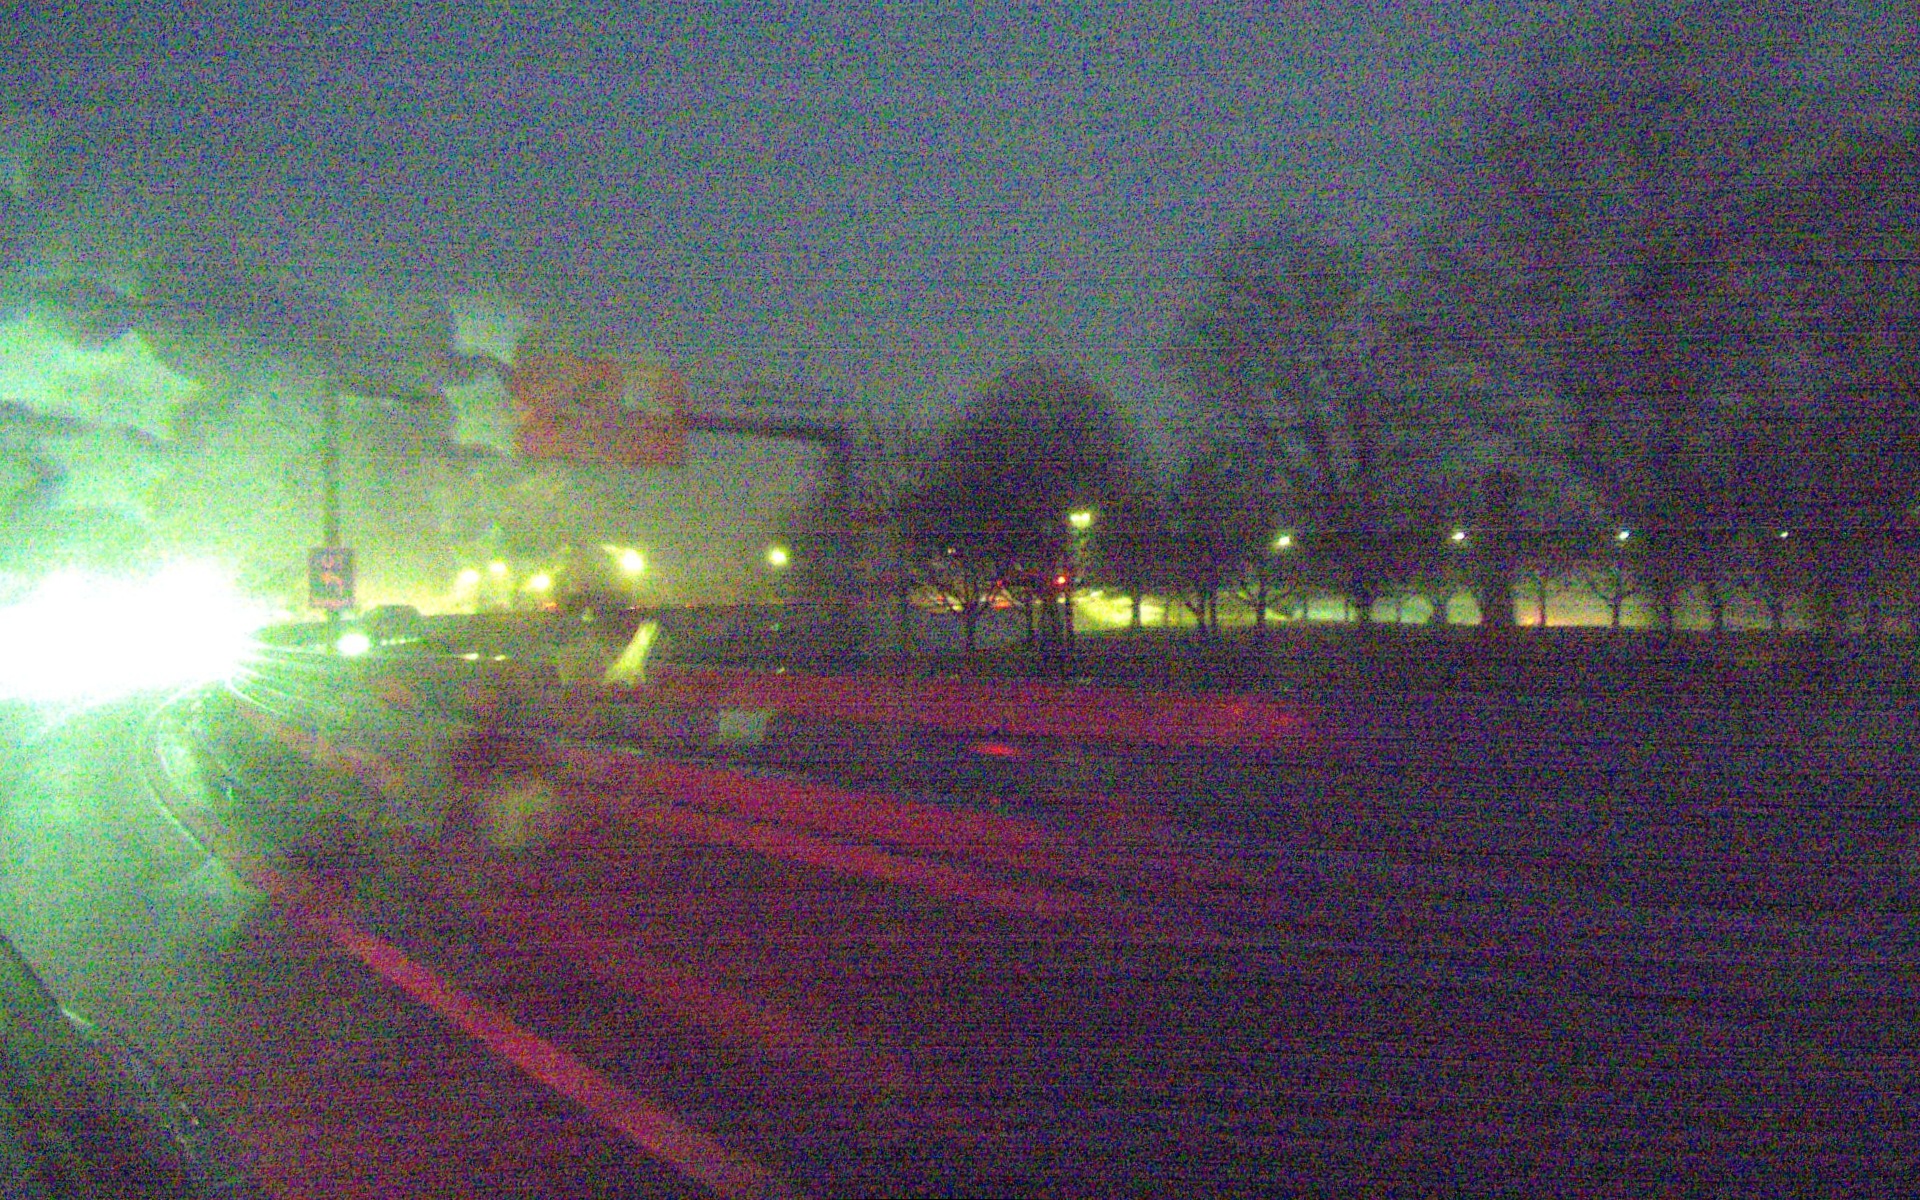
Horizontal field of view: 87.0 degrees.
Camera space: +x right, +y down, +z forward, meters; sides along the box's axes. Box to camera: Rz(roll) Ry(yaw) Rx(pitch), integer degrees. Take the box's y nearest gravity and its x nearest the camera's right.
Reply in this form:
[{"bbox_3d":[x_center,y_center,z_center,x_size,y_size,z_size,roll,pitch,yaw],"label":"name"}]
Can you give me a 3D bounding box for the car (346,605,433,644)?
[{"bbox_3d":[-27.828,1.171,49.517,1.972,1.761,4.100,-2,0,-1],"label":"car"}]
